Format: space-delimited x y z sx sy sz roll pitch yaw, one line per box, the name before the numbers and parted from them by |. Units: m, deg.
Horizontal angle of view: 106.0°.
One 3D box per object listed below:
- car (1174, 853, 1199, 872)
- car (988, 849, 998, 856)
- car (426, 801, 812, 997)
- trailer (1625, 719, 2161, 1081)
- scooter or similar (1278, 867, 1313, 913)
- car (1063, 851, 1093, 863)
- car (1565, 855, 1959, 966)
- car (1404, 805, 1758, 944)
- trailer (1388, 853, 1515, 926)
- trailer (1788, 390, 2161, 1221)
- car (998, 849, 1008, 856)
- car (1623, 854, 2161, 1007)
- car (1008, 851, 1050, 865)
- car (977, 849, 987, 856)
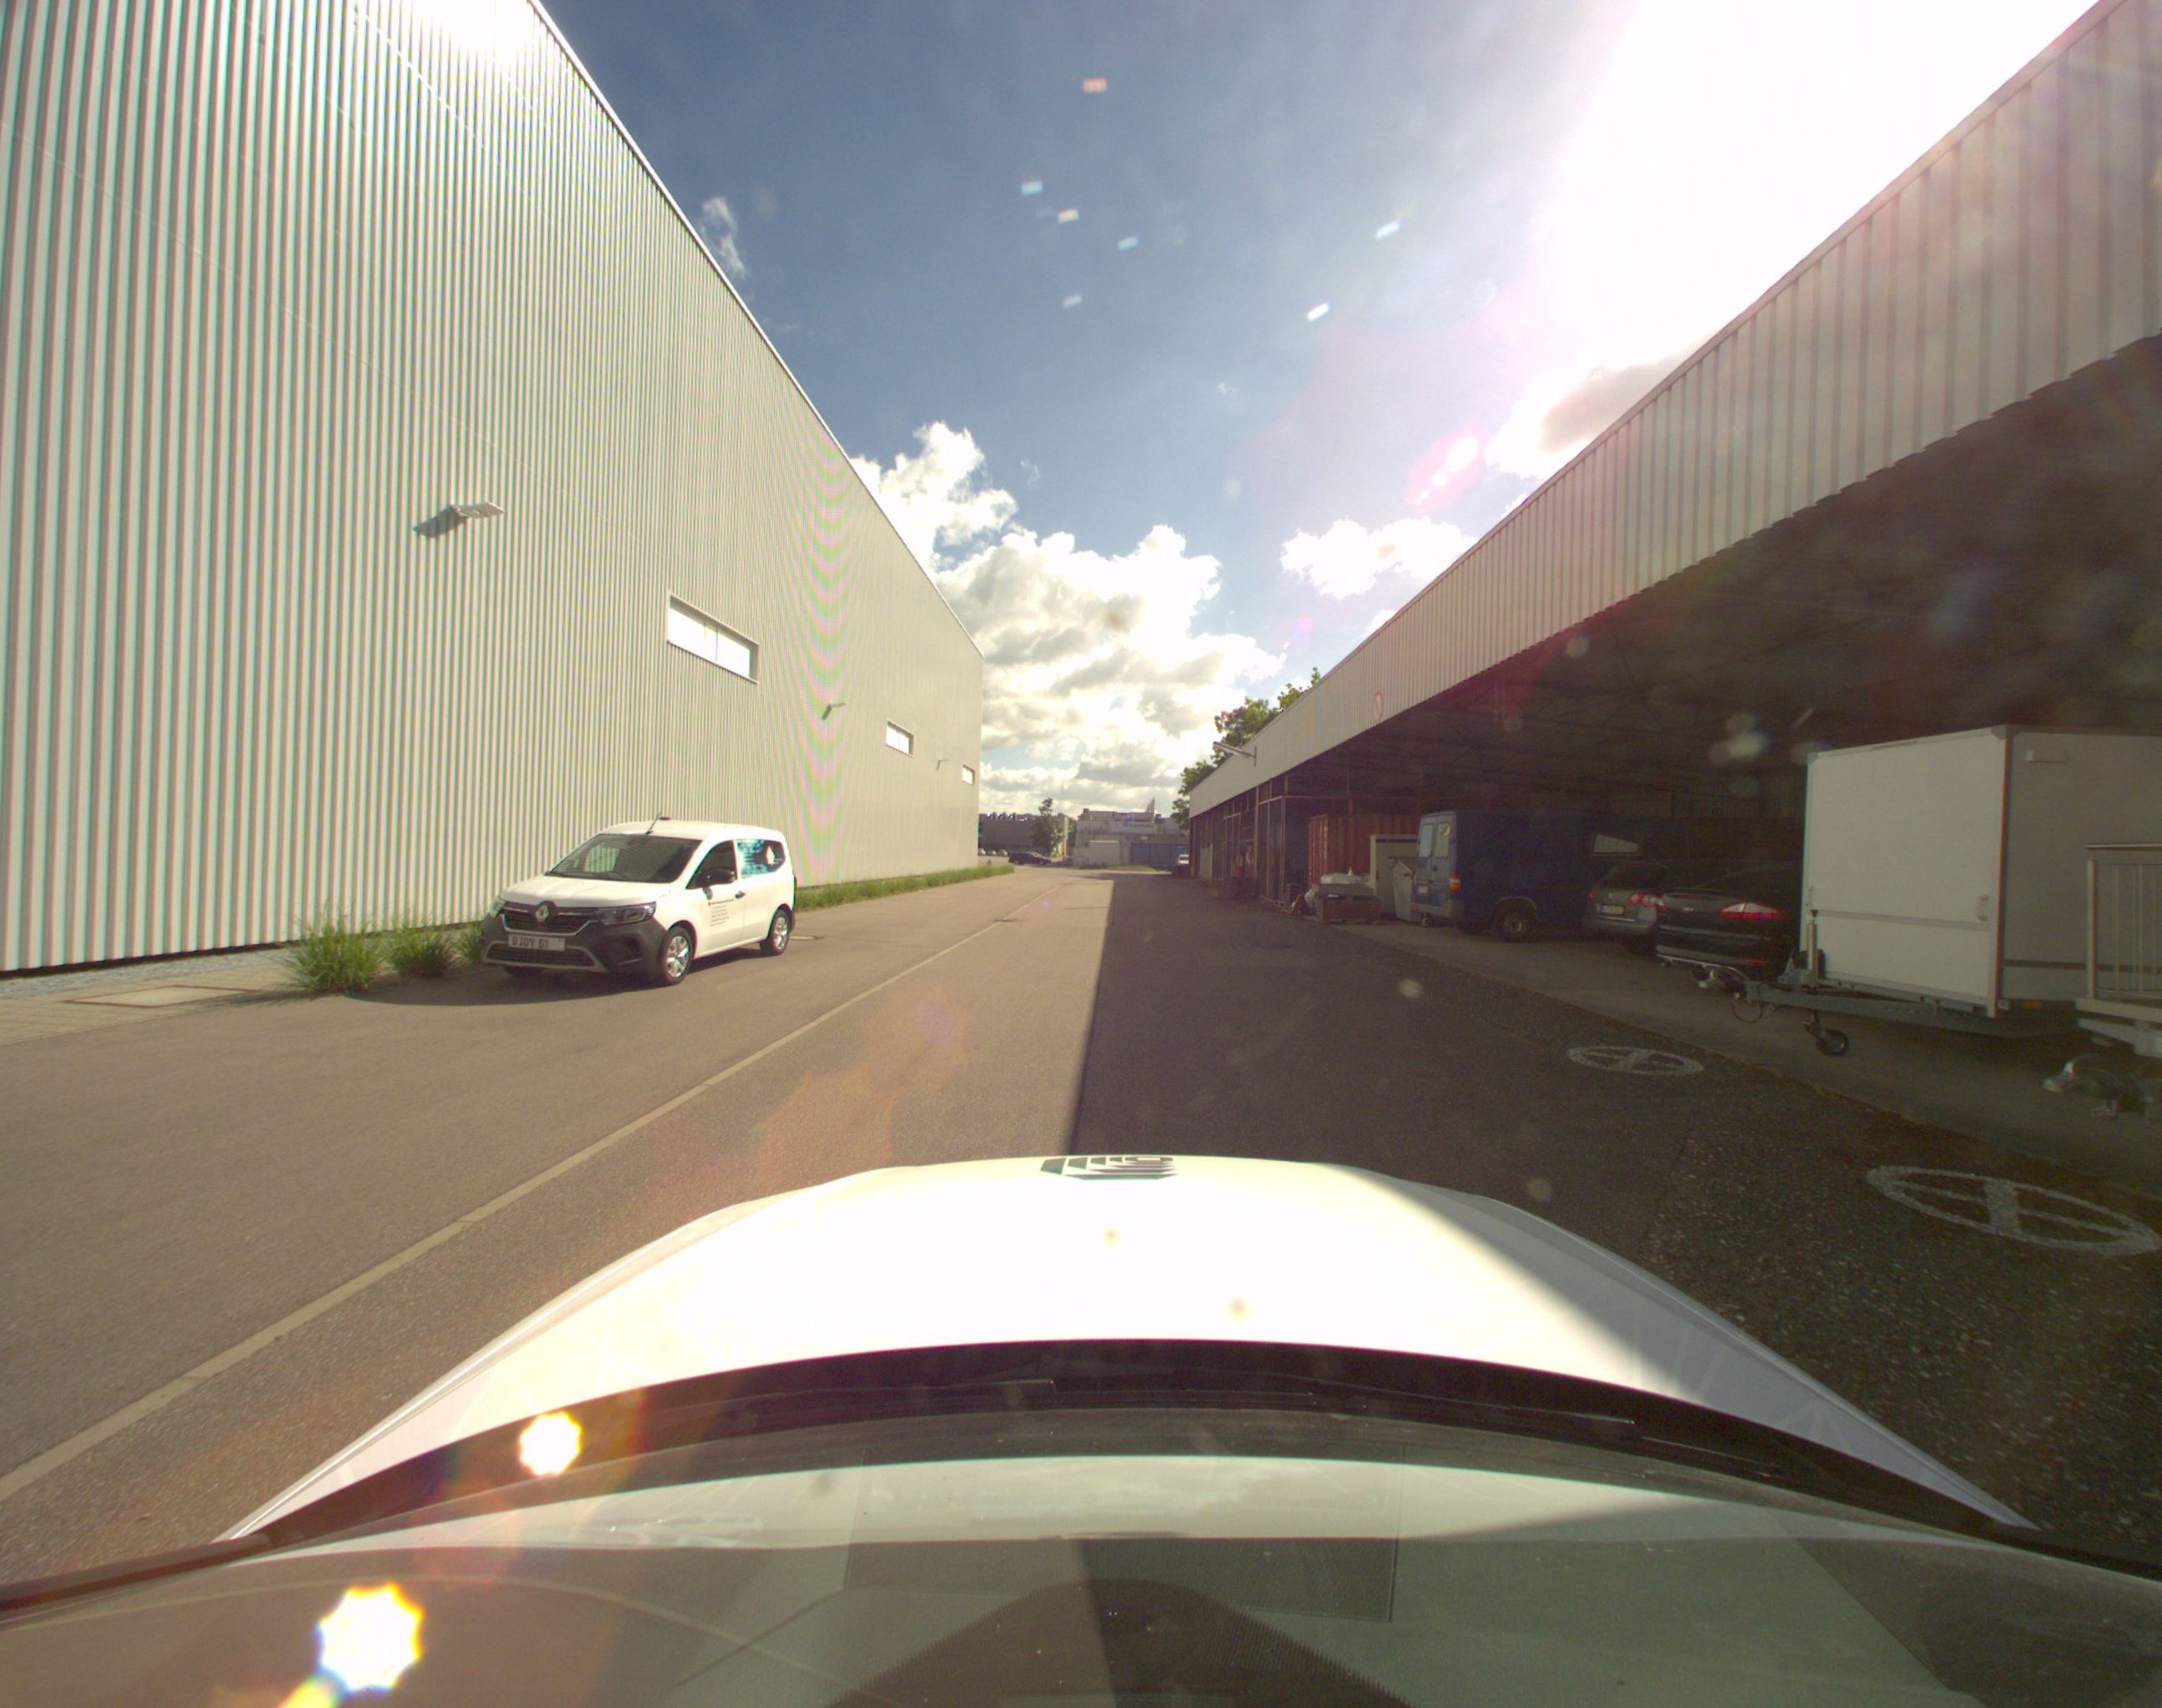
car | 10.247 0.823 79.344 1.973 1.593 4.343 2 1 2
car | -20.508 -0.334 189.704 1.871 1.537 4.035 0 0 0
car | -5.209 0.425 10.125 1.921 1.790 4.601 3 0 2
trailer | 6.918 0.297 6.104 4.523 2.335 1.690 0 0 2
scooter or similar | 5.458 0.896 20.790 0.518 1.134 1.593 1 -1 2
car | -0.399 0.501 120.022 4.262 1.569 1.988 1 -2 2
car | 9.533 0.750 11.687 4.092 1.454 1.851 0 0 2
car | 8.922 0.353 14.909 5.197 2.297 2.084 1 0 1
trailer | 7.915 0.744 17.542 2.084 1.462 1.644 1 -1 5
trailer | 9.437 -0.200 3.509 10.251 3.295 2.677 0 0 2
car | -18.180 -0.336 189.861 1.871 1.537 4.035 0 0 0
car | 8.522 0.724 8.656 4.331 1.433 1.864 0 0 -1
car | -5.845 0.423 92.403 4.512 1.443 1.988 1 -2 2
car | -23.058 -0.406 189.926 1.871 1.689 4.035 0 0 0
